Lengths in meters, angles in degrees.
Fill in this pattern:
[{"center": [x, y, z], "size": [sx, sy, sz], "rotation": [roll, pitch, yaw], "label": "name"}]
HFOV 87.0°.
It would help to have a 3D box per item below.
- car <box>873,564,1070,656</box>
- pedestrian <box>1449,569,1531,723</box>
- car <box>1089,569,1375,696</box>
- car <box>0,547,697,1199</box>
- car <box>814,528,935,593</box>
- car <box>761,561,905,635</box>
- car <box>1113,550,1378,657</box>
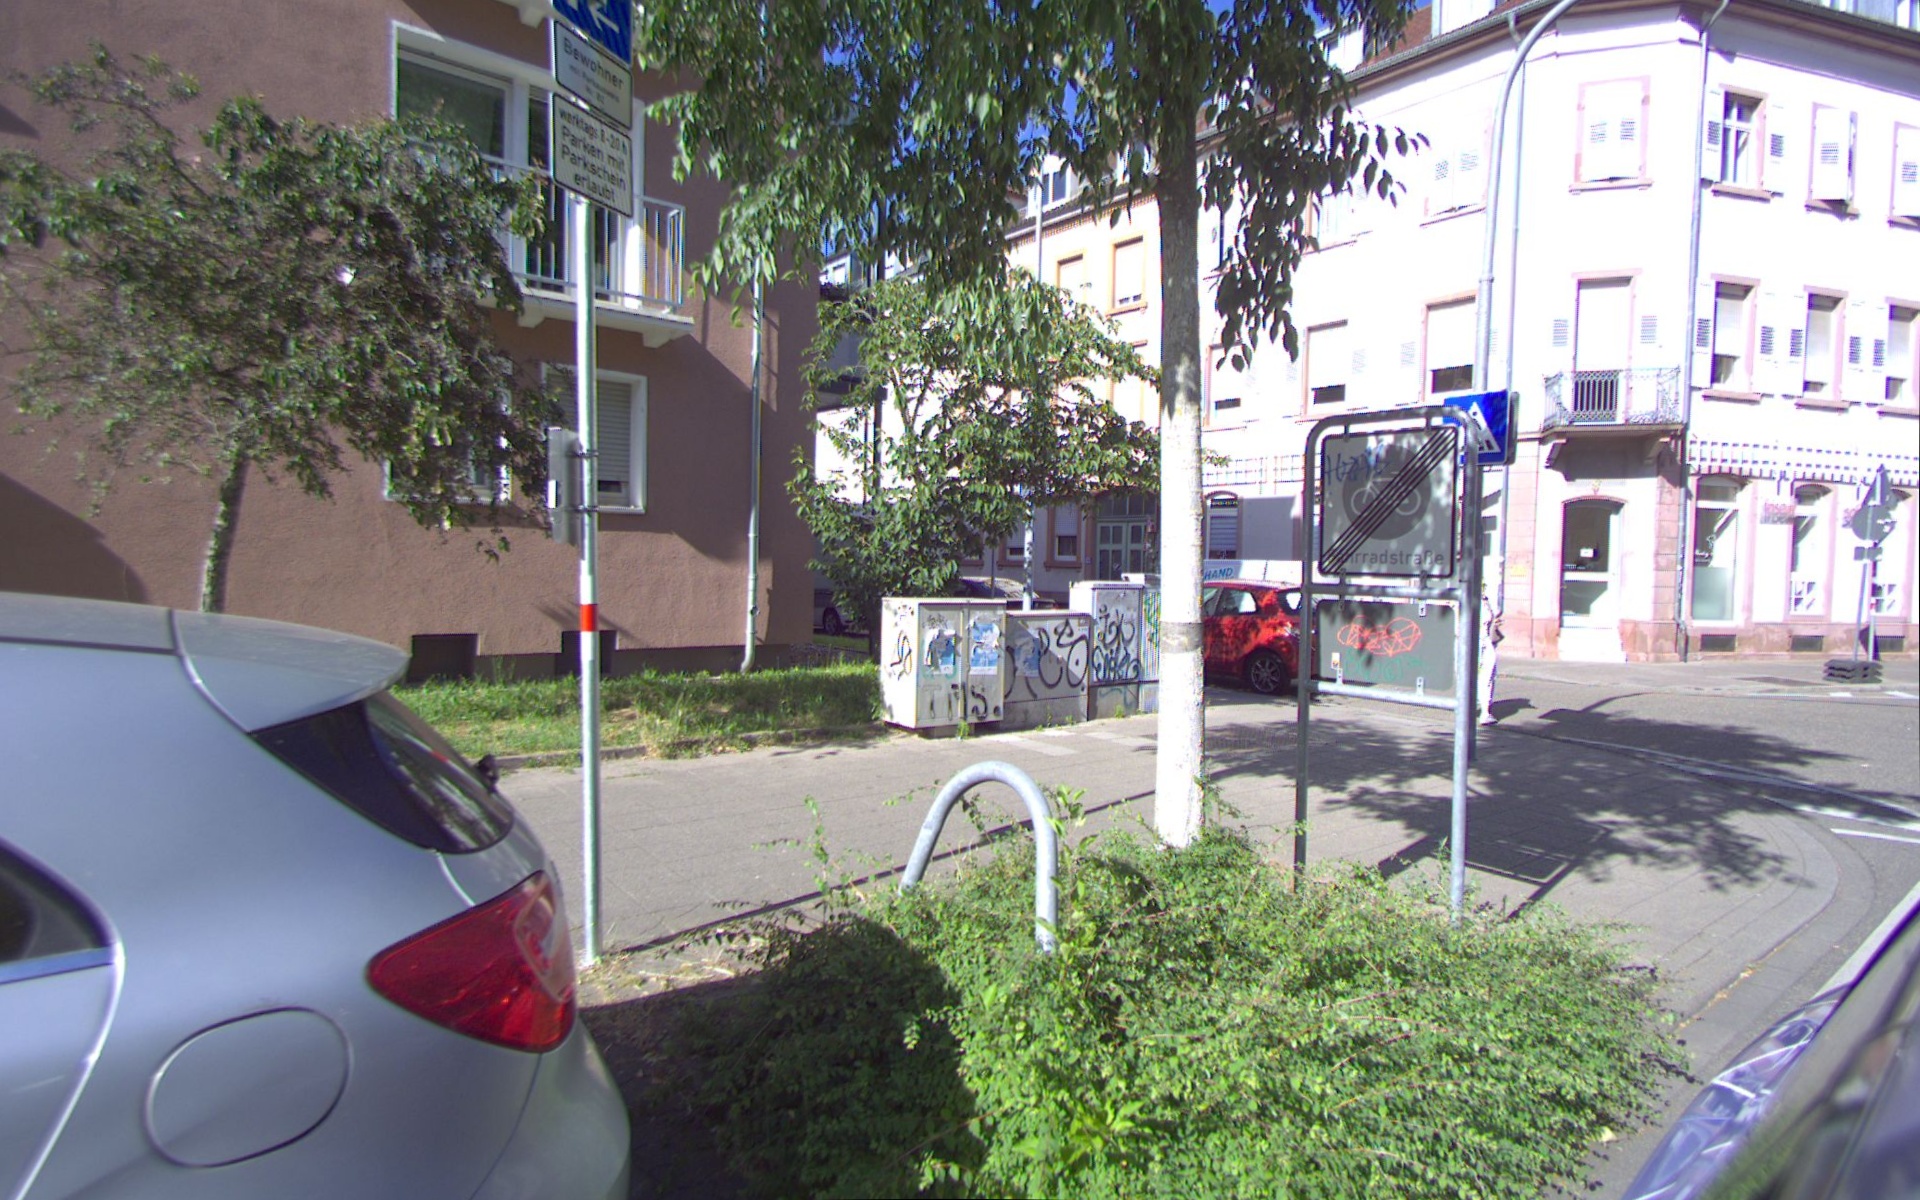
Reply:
[{"center": [0.112, 0.120, 19.597], "size": [1.628, 1.519, 4.078], "rotation": [0, 2, -37], "label": "car"}, {"center": [5.891, 0.473, 11.289], "size": [0.728, 1.634, 0.809], "rotation": [2, 2, 26], "label": "pedestrian"}, {"center": [3.860, 0.352, 14.855], "size": [1.660, 1.518, 3.803], "rotation": [-2, 4, -39], "label": "car"}, {"center": [-2.507, 0.664, 0.832], "size": [4.079, 1.471, 1.745], "rotation": [0, 3, -38], "label": "car"}, {"center": [-2.736, -1.232, 31.571], "size": [1.866, 1.882, 3.993], "rotation": [0, 2, -37], "label": "car"}, {"center": [-3.014, -0.107, 23.418], "size": [1.628, 1.519, 3.762], "rotation": [0, 2, -37], "label": "car"}, {"center": [5.693, 0.005, 20.799], "size": [1.867, 1.882, 5.009], "rotation": [3, 1, -40], "label": "car"}]
